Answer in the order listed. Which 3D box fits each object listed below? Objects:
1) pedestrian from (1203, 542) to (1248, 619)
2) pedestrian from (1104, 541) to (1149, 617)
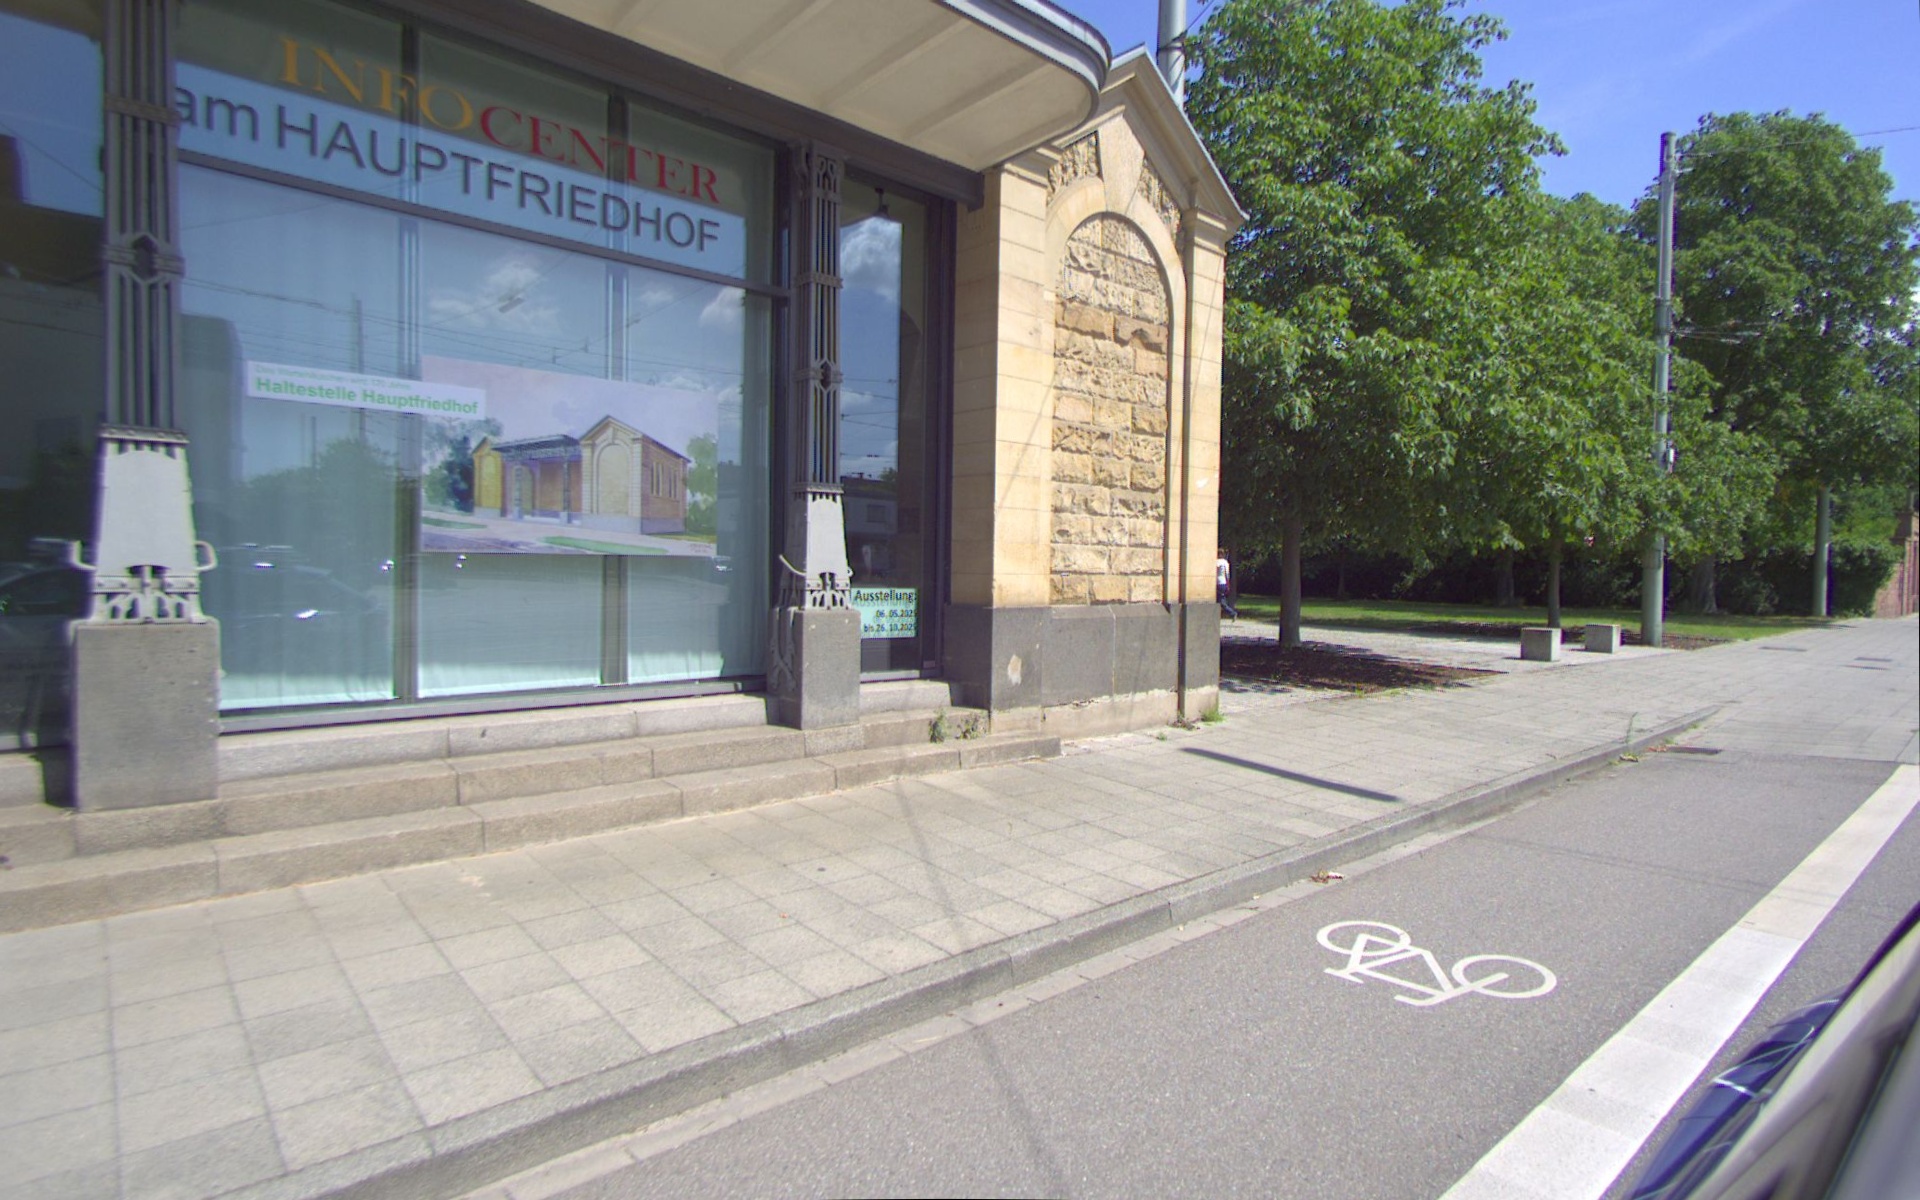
[{"bbox_3d":[6.424,-0.486,24.506,0.795,1.820,0.678,0,2,-38],"label":"pedestrian"},{"bbox_3d":[4.037,-0.525,24.519,0.795,1.802,0.678,0,2,-38],"label":"pedestrian"}]
